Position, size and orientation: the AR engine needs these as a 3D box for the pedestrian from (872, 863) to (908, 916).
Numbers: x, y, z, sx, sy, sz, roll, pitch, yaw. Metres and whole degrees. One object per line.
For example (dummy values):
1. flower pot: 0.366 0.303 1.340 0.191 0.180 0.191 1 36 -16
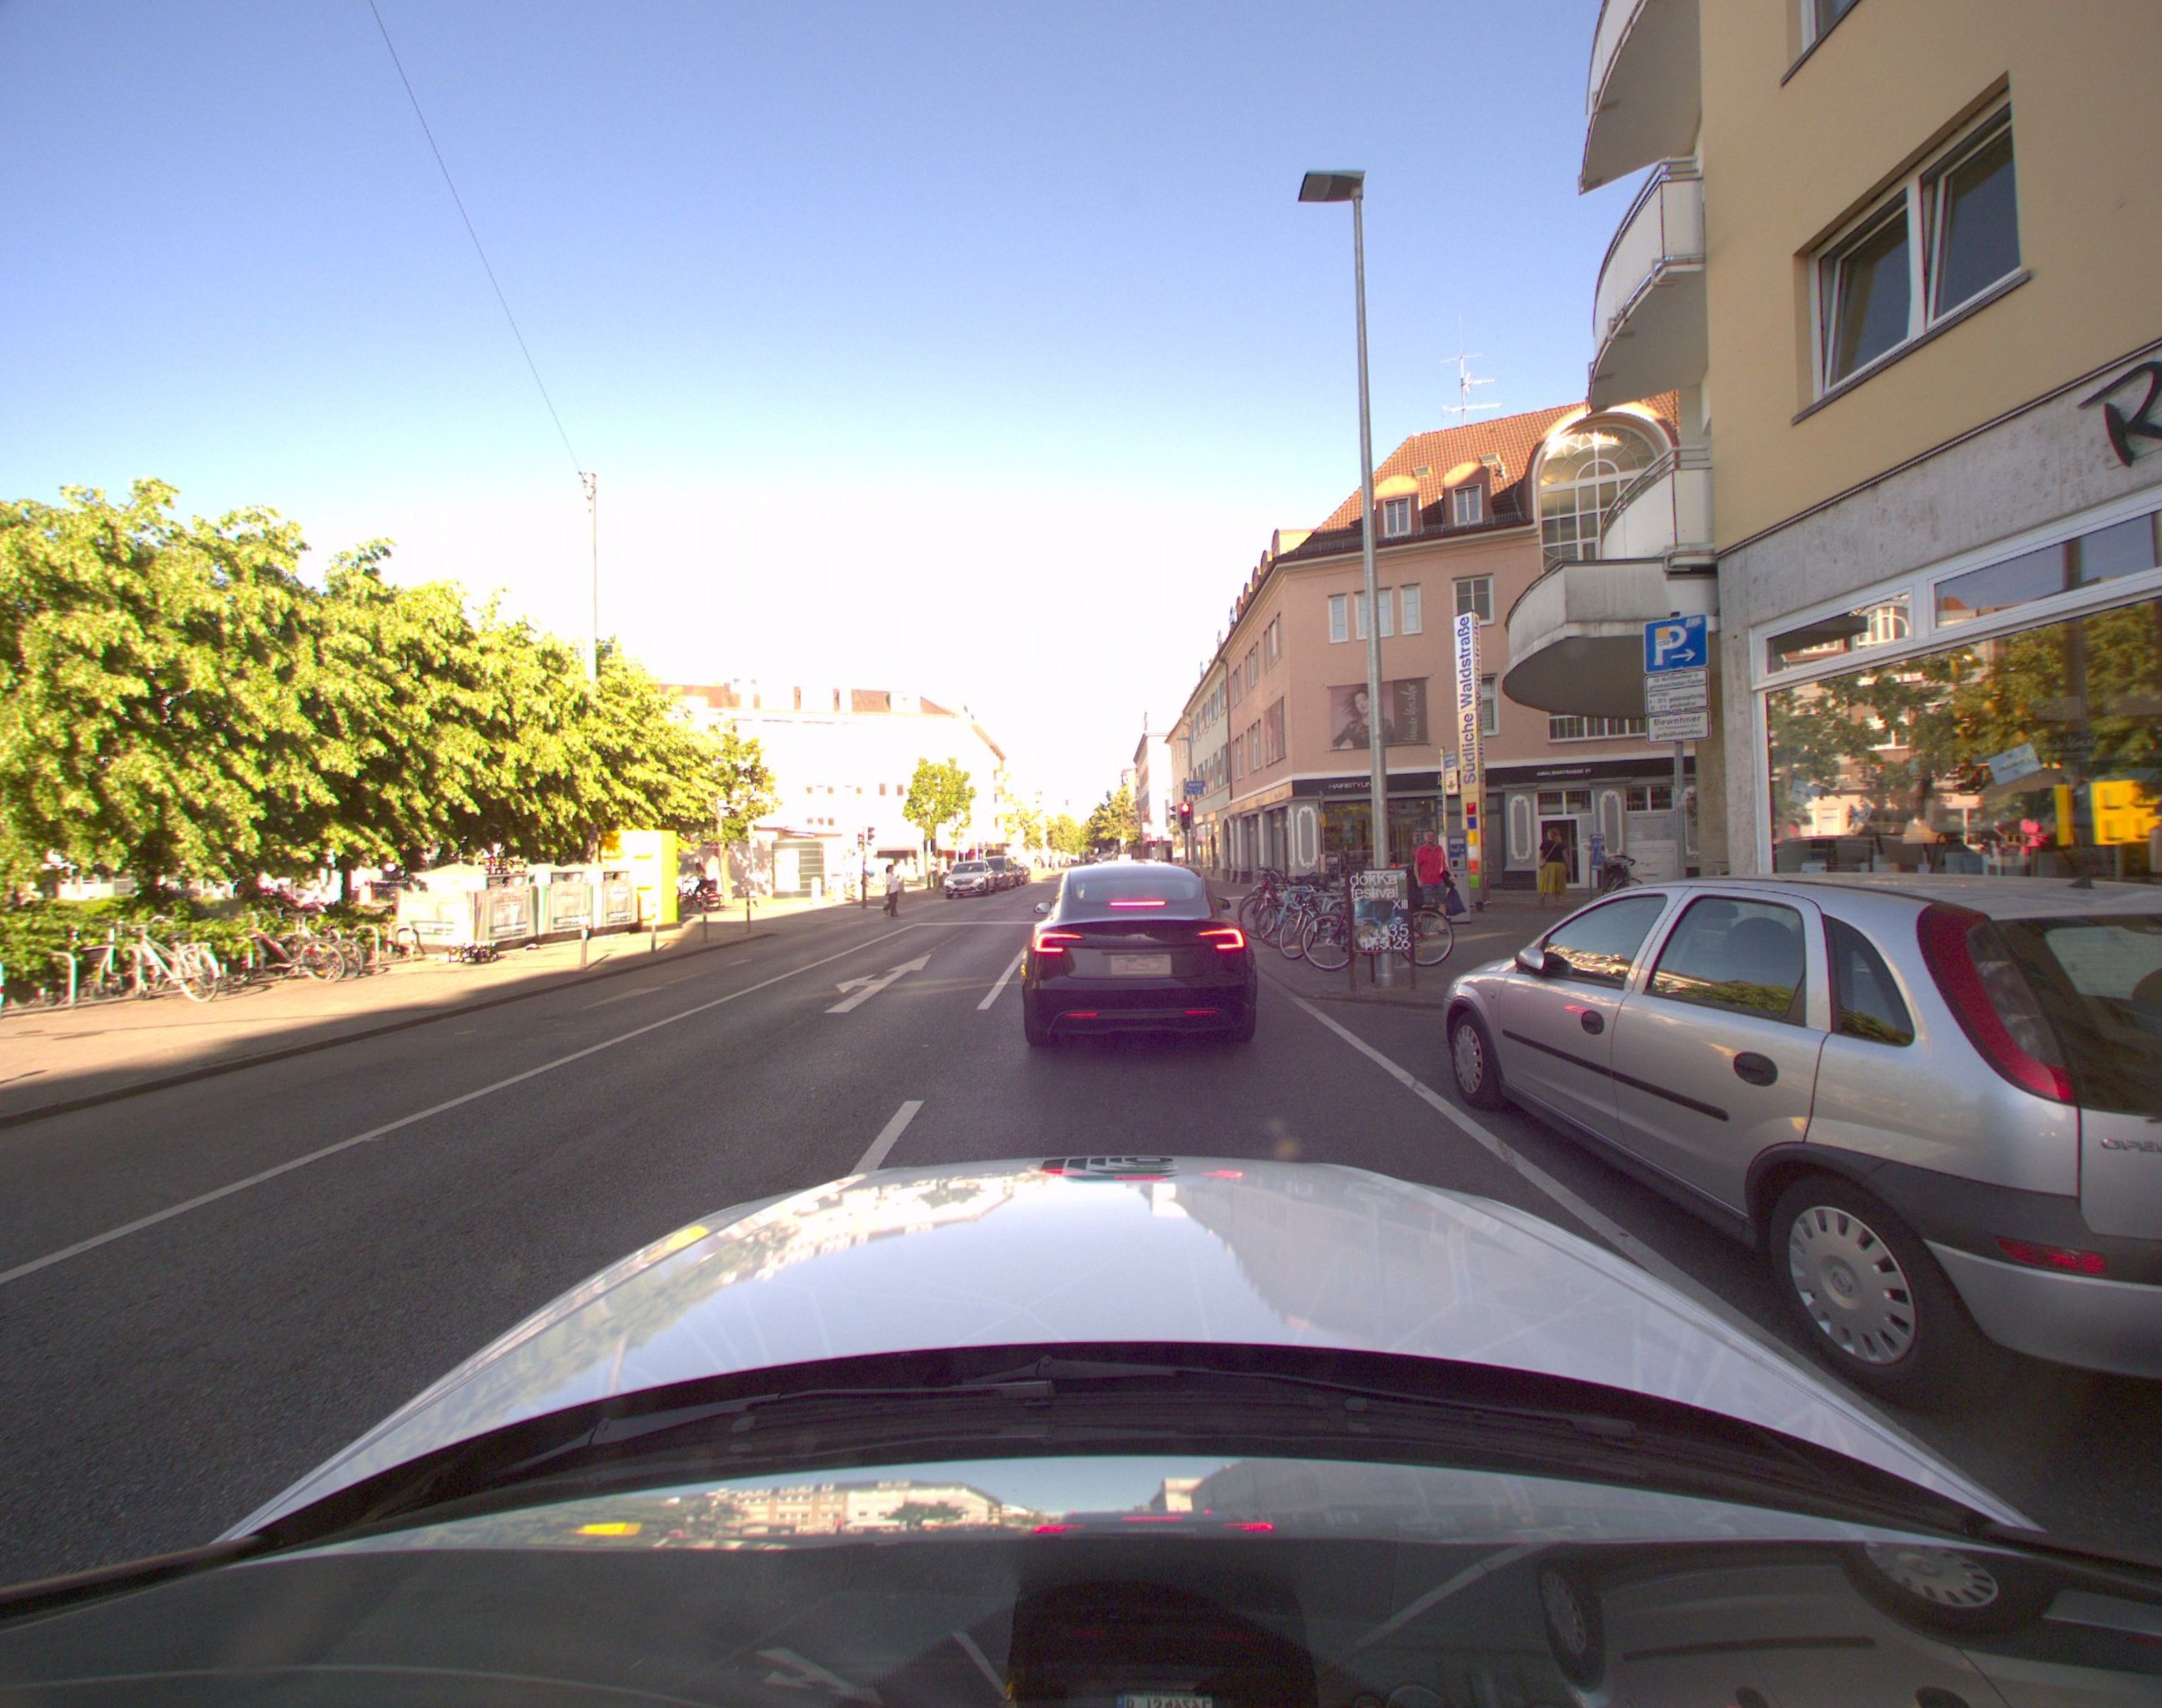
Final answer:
1. pedestrian: -5.663 1.042 24.225 0.919 1.543 0.694 0 -1 -4

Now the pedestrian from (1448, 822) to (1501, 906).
1. pedestrian: 9.085 0.241 18.839 0.678 1.849 0.894 -5 -1 3

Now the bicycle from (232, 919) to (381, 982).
1. bicycle: -11.467 1.424 12.090 1.663 0.859 0.469 0 -1 -5

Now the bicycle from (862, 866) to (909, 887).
1. bicycle: -12.059 1.388 50.290 2.655 1.259 0.942 0 -1 -1

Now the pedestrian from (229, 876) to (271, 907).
1. pedestrian: -34.655 1.555 33.969 0.857 1.214 0.904 -1 -1 17

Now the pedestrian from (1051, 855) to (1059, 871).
1. pedestrian: -3.055 1.097 96.026 0.775 1.868 1.004 0 -1 -14

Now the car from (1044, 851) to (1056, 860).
1. car: -7.165 0.297 188.721 2.266 2.014 4.720 0 -1 3

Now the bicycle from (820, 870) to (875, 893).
1. bicycle: -12.383 1.440 43.232 2.652 1.195 0.942 0 -1 -1

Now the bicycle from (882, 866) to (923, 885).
1. bicycle: -12.058 1.422 54.993 2.535 1.251 0.942 0 -1 -1

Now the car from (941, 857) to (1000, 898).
1. car: -4.889 1.016 36.586 1.818 1.565 4.302 -5 -1 2

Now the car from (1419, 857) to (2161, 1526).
1. car: 2.954 0.736 3.535 1.578 1.426 3.581 0 -1 2

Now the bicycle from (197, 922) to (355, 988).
1. bicycle: -11.432 1.423 11.592 1.667 0.859 0.469 0 -1 -5

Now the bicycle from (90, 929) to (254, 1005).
1. bicycle: -11.467 1.417 10.294 1.560 0.886 0.470 0 -1 1

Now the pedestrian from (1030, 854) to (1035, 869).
1. pedestrian: -6.219 0.981 104.213 0.693 1.868 0.658 0 -1 -3

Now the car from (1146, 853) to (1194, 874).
1. car: 8.142 0.873 74.638 4.006 1.867 1.686 -1 0 -20

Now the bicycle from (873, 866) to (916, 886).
1. bicycle: -12.004 1.402 52.565 2.535 1.251 0.942 0 -1 -1

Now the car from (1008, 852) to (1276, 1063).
1. car: 0.490 0.737 7.871 1.843 1.447 4.453 0 0 2

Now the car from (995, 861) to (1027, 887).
1. car: -4.262 1.205 50.035 1.455 1.430 3.607 -5 -1 2

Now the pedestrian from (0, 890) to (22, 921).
1. pedestrian: -66.809 3.172 50.322 1.305 1.842 1.091 0 -1 -31

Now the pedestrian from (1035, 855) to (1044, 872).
1. pedestrian: -4.855 1.101 94.894 0.726 1.868 0.796 -1 -1 30

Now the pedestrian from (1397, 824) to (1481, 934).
1. pedestrian: 5.840 0.401 13.363 1.051 1.719 1.117 -1 -1 13

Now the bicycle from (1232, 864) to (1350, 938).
1. bicycle: 3.490 0.773 13.630 1.806 1.152 0.653 -1 0 3

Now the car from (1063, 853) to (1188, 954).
1. car: 0.736 0.748 14.295 1.843 1.482 4.453 0 0 2

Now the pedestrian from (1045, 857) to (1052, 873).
1. pedestrian: -3.843 1.251 96.004 0.696 1.868 0.905 0 -1 -16

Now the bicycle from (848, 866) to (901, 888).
1. bicycle: -12.160 1.365 47.972 2.867 1.270 0.942 0 -1 -1

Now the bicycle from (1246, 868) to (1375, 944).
1. bicycle: 3.513 0.789 12.555 1.806 1.102 0.653 -1 0 3

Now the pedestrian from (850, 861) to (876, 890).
1. pedestrian: -12.608 1.240 47.055 1.260 1.611 1.094 0 -1 -6

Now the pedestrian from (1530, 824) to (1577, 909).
1. pedestrian: 10.246 0.266 17.687 0.714 1.754 0.792 -4 -1 26

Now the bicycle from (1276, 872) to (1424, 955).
1. bicycle: 3.650 0.796 11.144 1.806 1.060 0.653 -1 0 3

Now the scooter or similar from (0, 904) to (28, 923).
1. scooter or similar: -57.396 3.195 43.808 0.793 0.957 0.459 0 -1 -34

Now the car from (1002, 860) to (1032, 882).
1. car: -4.432 1.155 56.996 1.688 1.390 3.915 -3 -1 0

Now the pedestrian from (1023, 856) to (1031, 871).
1. pedestrian: -6.450 1.134 97.488 0.734 1.868 0.787 0 -1 -15

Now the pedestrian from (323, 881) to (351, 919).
1. pedestrian: -29.900 1.844 32.725 0.553 1.508 0.611 -1 -1 17

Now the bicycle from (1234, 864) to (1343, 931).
1. bicycle: 3.731 0.781 14.760 1.806 1.152 0.653 -1 0 3

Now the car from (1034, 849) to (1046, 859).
1. car: -9.021 -0.006 180.126 2.266 2.014 4.720 0 -1 3

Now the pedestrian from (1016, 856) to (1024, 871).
1. pedestrian: -7.281 1.138 97.331 0.734 1.868 0.787 0 -1 -15

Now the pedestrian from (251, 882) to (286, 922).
1. pedestrian: -31.700 1.861 31.779 0.928 1.520 0.924 0 -1 -43

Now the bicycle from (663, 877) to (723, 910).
1. bicycle: -13.871 1.401 29.116 1.943 1.158 0.577 0 0 8

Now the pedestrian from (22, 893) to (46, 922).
1. pedestrian: -56.793 2.899 44.193 0.629 1.524 0.573 0 -1 -34

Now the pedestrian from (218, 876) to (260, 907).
1. pedestrian: -34.300 1.528 33.179 0.926 1.214 0.873 -1 -1 17

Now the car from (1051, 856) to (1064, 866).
1. car: -4.860 1.328 166.797 2.405 1.970 4.679 -1 0 2

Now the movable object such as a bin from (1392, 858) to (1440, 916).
1. movable object such as a bin: 6.738 0.648 16.410 0.633 1.103 0.728 -4 -1 5

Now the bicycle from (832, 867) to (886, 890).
1. bicycle: -12.399 1.372 45.576 2.772 1.274 0.933 0 -1 -2

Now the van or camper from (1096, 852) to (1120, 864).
1. van or camper: 5.632 0.857 167.648 4.832 2.438 1.851 -1 0 1

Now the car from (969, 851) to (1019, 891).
1. car: -4.501 0.835 42.909 1.938 1.947 4.822 -1 0 2

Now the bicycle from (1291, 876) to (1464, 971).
1. bicycle: 3.630 0.843 10.071 1.875 1.044 0.653 -2 0 3

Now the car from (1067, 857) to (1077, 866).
1. car: -1.999 1.784 187.417 2.124 1.970 4.135 -1 0 2

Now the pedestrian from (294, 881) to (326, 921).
1. pedestrian: -30.424 1.849 32.148 0.827 1.520 0.782 -1 -1 38

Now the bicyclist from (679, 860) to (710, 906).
1. bicyclist: -13.809 1.031 29.094 0.821 1.614 0.581 0 0 8
